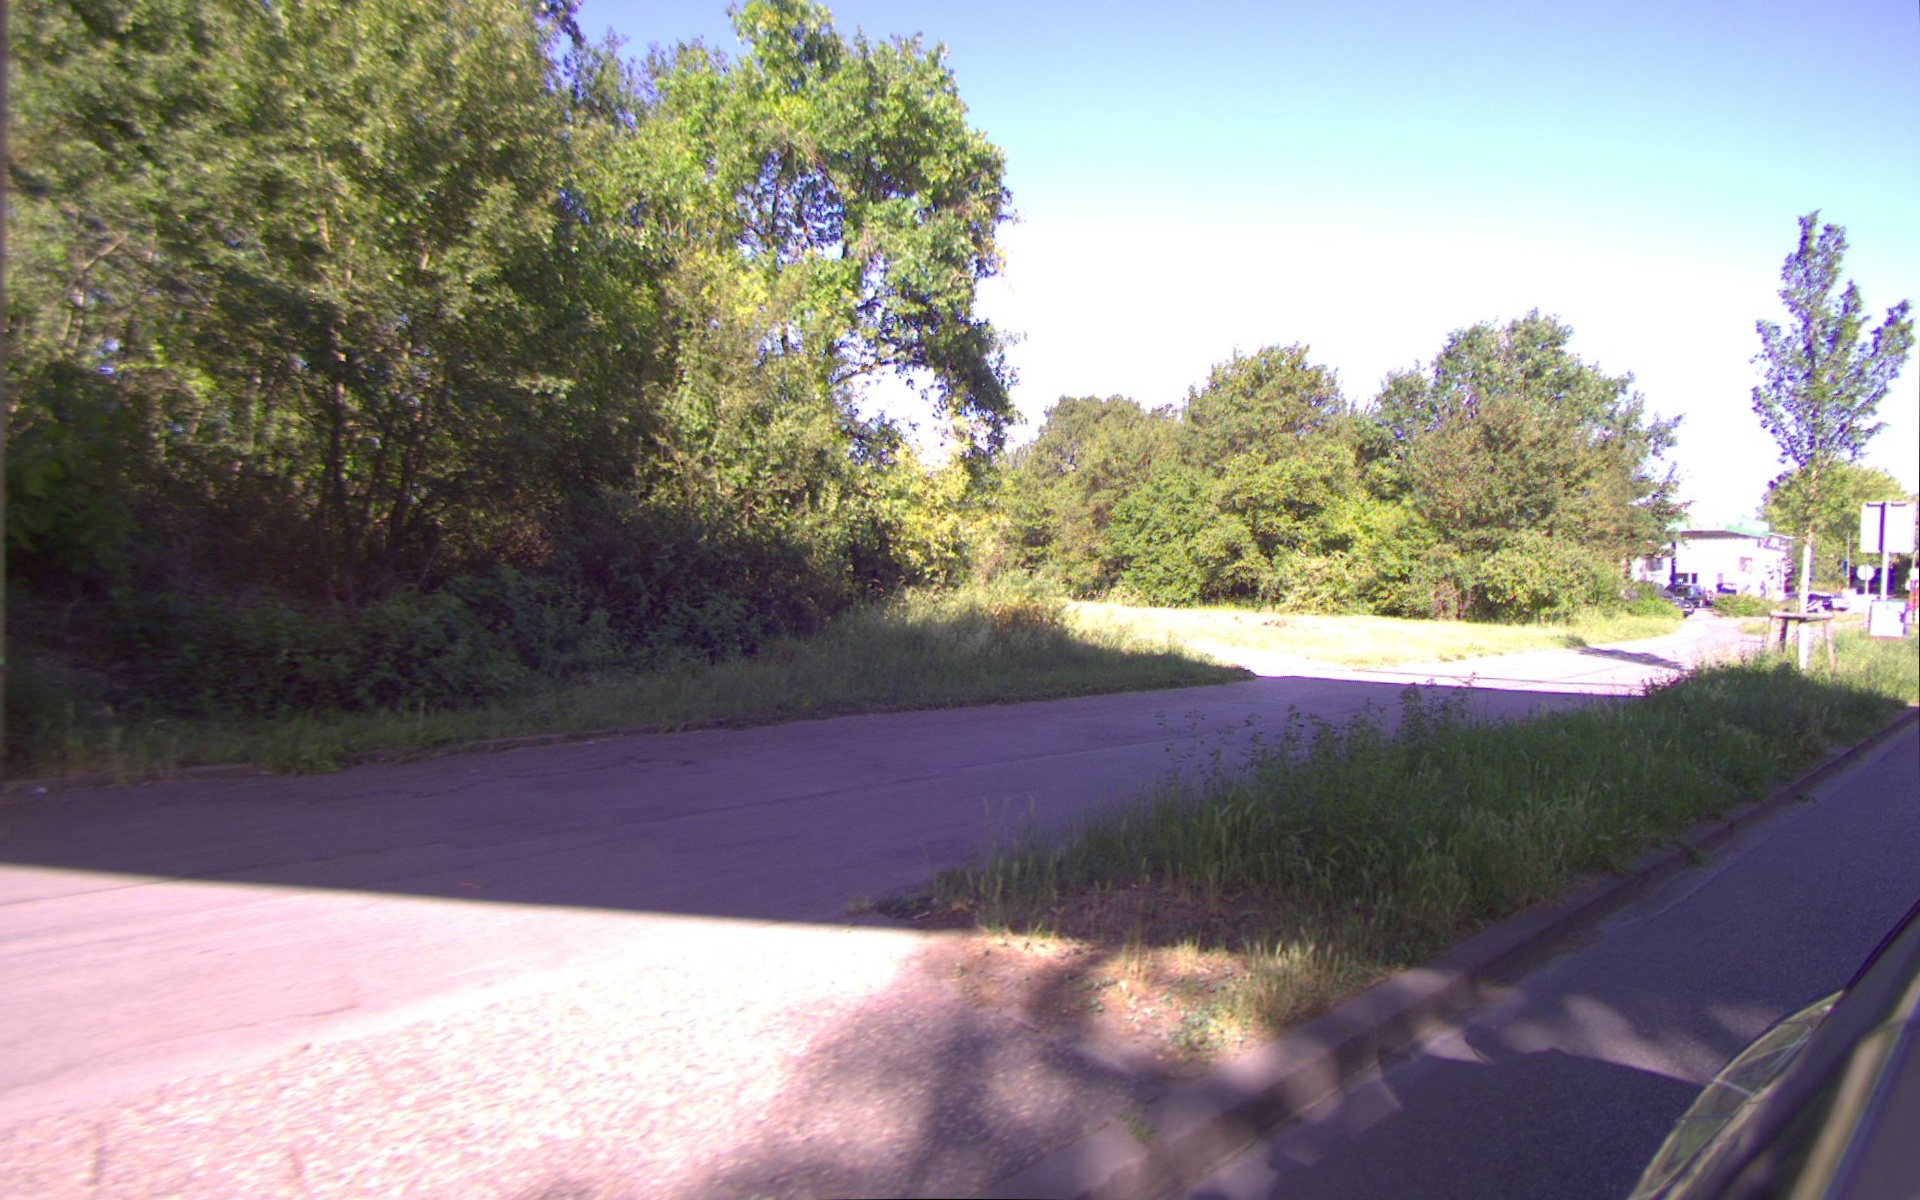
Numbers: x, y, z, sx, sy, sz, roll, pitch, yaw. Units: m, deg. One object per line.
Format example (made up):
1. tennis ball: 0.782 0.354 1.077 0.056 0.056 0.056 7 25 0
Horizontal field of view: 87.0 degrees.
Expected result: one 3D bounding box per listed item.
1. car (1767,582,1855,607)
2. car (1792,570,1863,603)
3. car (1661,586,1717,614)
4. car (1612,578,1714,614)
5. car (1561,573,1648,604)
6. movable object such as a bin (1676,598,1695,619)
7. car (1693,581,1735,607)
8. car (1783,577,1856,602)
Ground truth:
1. car: 63.498 -0.396 75.543 4.748 1.549 1.900 3 3 3
2. car: 70.671 -1.137 82.522 1.652 2.035 4.013 4 7 -9
3. car: 44.798 -0.017 62.185 4.172 1.592 1.749 0 1 -39
4. car: 38.287 -0.243 55.249 1.764 1.659 4.572 1 3 -11
5. car: 32.051 -0.543 50.398 1.740 1.505 3.291 0 0 -39
6. movable object such as a bin: 36.659 0.429 51.133 0.572 1.088 0.509 0 0 8
7. car: 60.676 -0.496 81.437 4.146 1.883 1.896 -1 5 -43
8. car: 68.334 -0.848 80.490 1.690 1.468 3.943 1 8 -29
